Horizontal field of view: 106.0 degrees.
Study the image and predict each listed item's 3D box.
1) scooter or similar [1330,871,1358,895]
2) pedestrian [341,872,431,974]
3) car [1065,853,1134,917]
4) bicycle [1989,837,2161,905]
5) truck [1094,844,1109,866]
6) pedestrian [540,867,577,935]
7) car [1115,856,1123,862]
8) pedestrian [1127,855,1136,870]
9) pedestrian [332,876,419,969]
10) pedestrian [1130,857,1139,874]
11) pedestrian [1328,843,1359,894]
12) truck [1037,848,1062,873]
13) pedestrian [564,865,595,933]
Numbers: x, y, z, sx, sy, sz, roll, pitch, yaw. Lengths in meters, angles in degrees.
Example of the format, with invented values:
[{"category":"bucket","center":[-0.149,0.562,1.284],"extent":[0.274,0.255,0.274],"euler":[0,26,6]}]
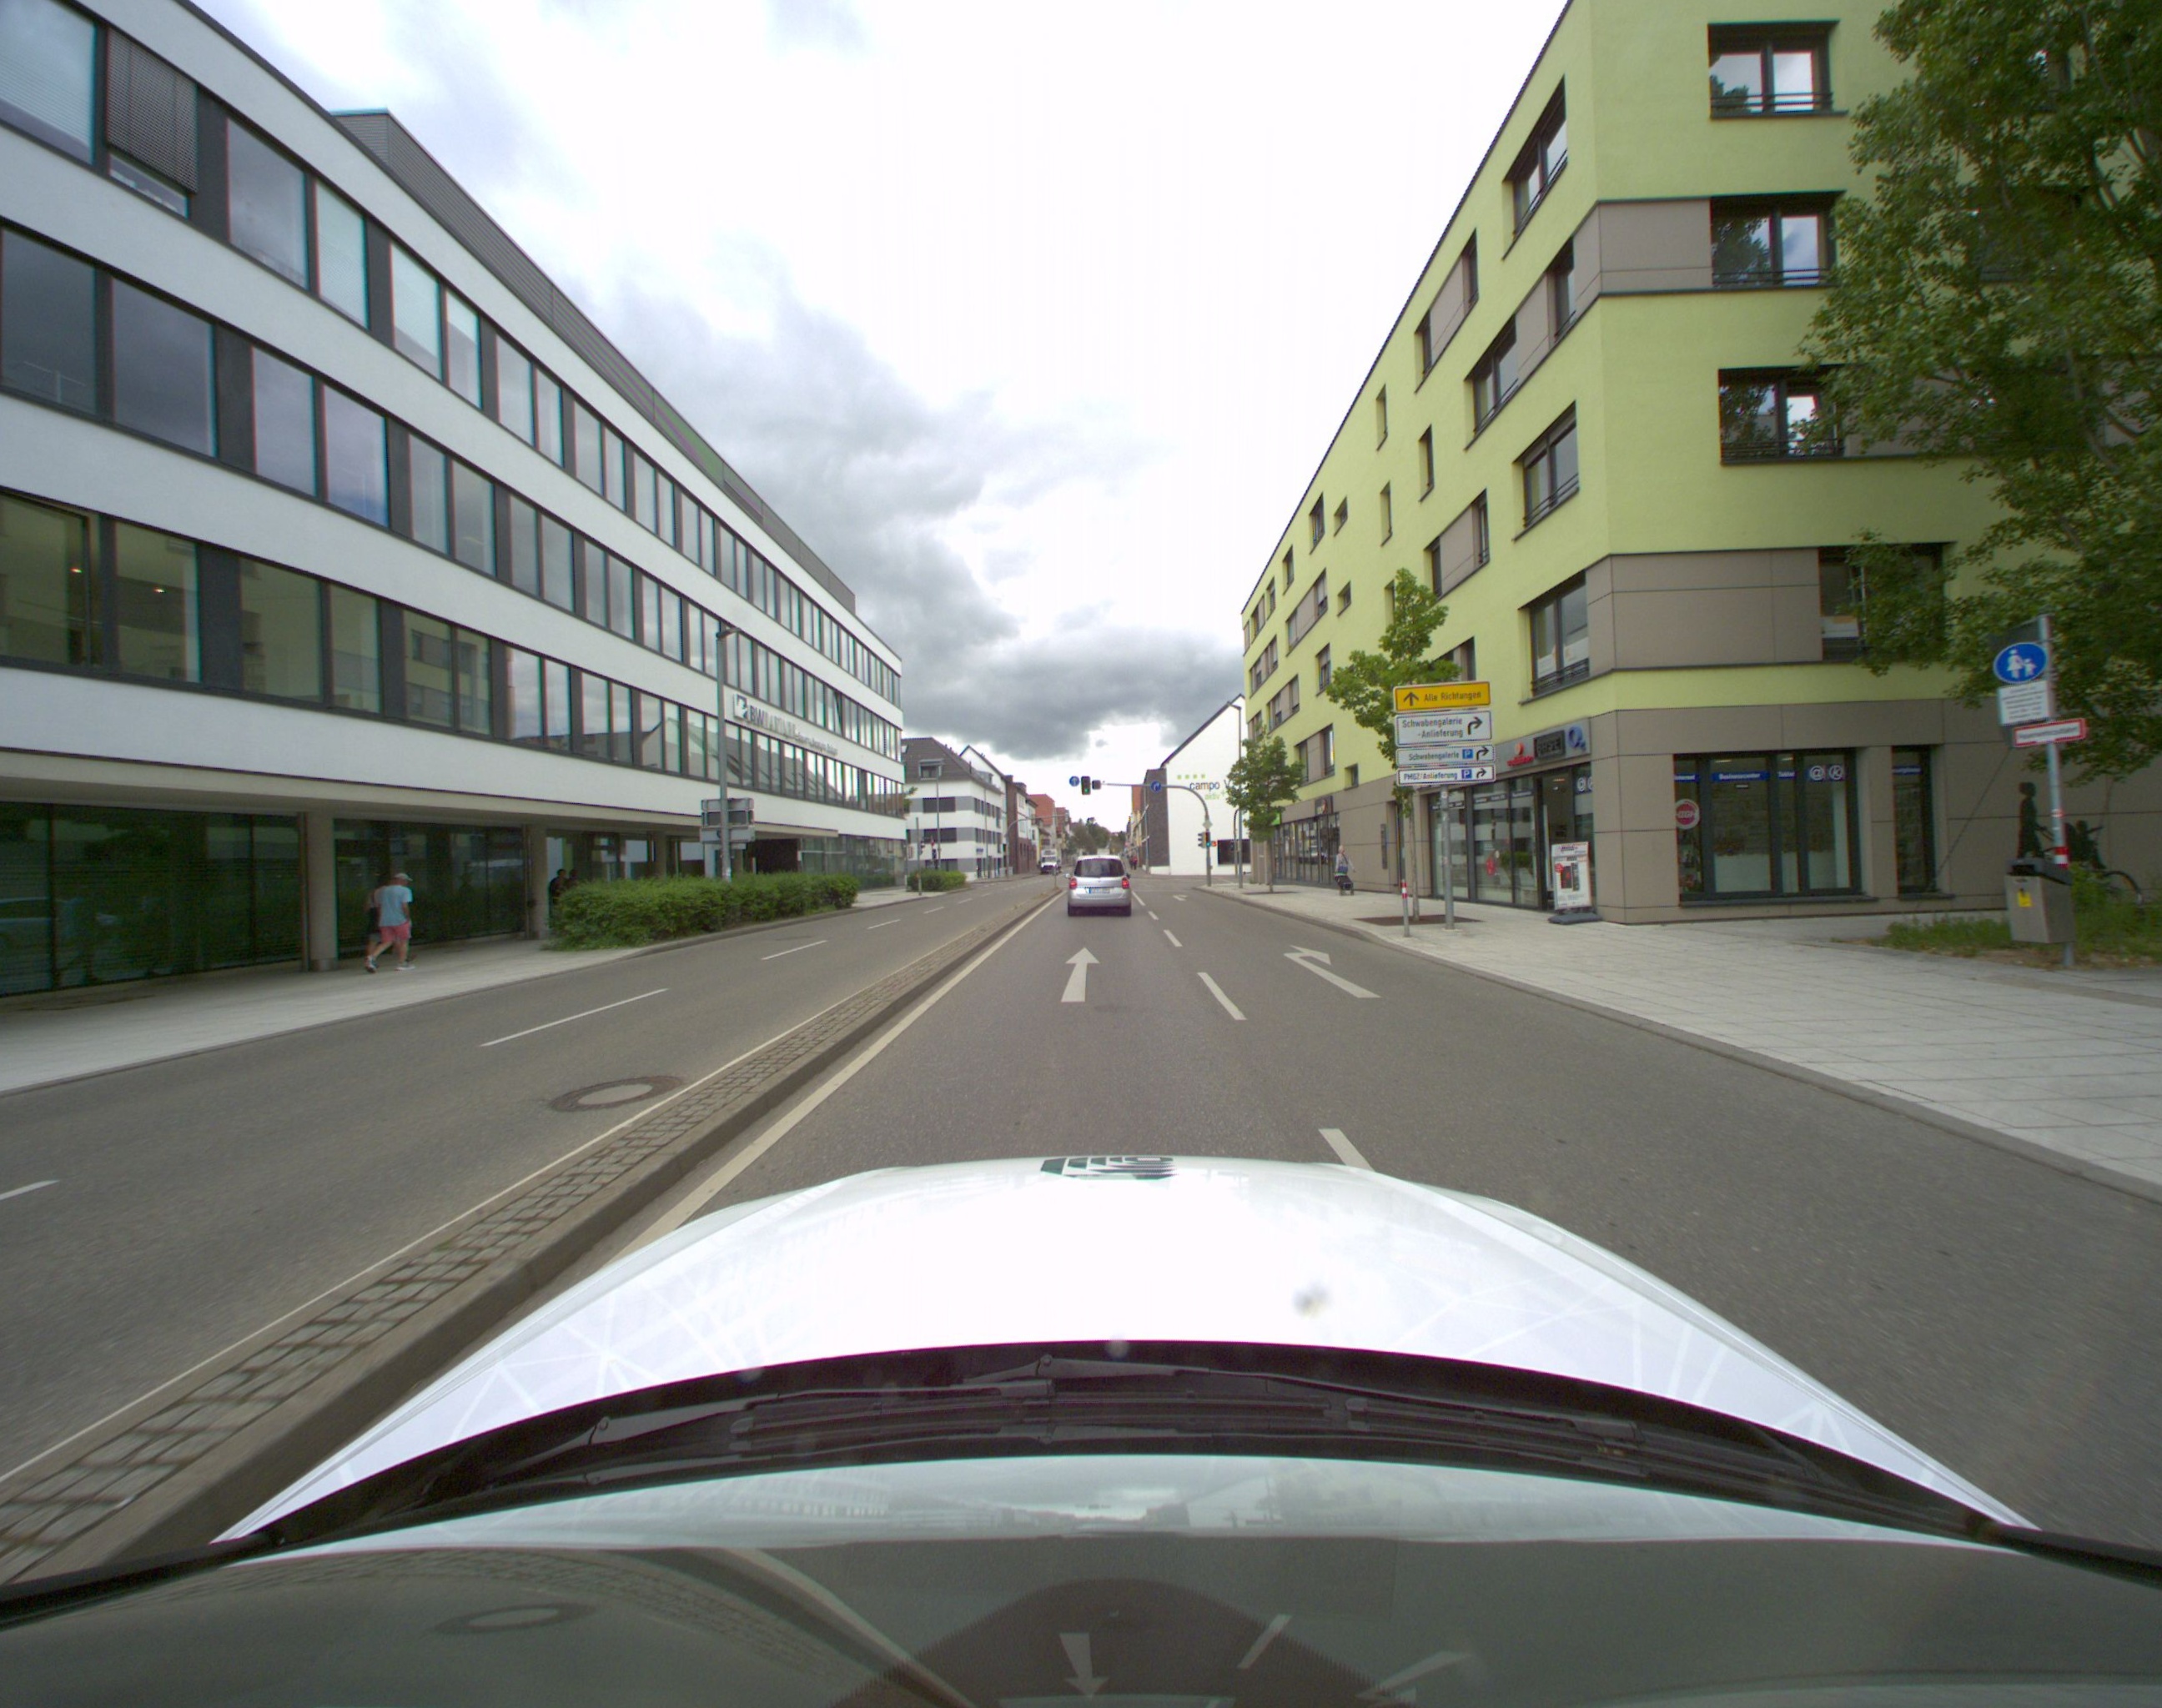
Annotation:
[{"category":"scooter or similar","center":[8.278,0.912,25.656],"extent":[0.590,0.673,0.824],"euler":[-3,0,1]},{"category":"pedestrian","center":[-12.049,1.169,14.143],"extent":[0.727,1.674,0.932],"euler":[-1,0,4]},{"category":"car","center":[0.517,0.771,22.380],"extent":[1.700,1.579,4.001],"euler":[-1,0,2]},{"category":"bicycle","center":[15.717,0.274,12.910],"extent":[1.869,1.000,0.543],"euler":[-2,-1,6]},{"category":"truck","center":[3.820,0.181,149.245],"extent":[2.585,3.857,6.852],"euler":[-2,0,2]},{"category":"pedestrian","center":[-13.823,1.234,21.556],"extent":[0.500,1.730,0.619],"euler":[-3,-1,33]},{"category":"car","center":[9.348,1.204,200.052],"extent":[1.805,1.354,4.003],"euler":[-3,0,2]},{"category":"pedestrian","center":[6.233,1.090,100.247],"extent":[0.886,1.786,0.785],"euler":[-5,0,2]},{"category":"pedestrian","center":[-12.797,1.217,14.794],"extent":[0.727,1.613,0.932],"euler":[-1,0,4]},{"category":"pedestrian","center":[5.958,1.292,90.667],"extent":[0.804,1.786,0.861],"euler":[-5,0,2]},{"category":"pedestrian","center":[8.494,0.456,26.367],"extent":[0.693,1.593,0.603],"euler":[-3,0,1]},{"category":"truck","center":[-3.789,0.779,100.335],"extent":[2.426,2.953,8.367],"euler":[-2,0,2]},{"category":"pedestrian","center":[-13.011,1.150,21.138],"extent":[0.617,1.710,0.501],"euler":[-2,-1,-29]}]
